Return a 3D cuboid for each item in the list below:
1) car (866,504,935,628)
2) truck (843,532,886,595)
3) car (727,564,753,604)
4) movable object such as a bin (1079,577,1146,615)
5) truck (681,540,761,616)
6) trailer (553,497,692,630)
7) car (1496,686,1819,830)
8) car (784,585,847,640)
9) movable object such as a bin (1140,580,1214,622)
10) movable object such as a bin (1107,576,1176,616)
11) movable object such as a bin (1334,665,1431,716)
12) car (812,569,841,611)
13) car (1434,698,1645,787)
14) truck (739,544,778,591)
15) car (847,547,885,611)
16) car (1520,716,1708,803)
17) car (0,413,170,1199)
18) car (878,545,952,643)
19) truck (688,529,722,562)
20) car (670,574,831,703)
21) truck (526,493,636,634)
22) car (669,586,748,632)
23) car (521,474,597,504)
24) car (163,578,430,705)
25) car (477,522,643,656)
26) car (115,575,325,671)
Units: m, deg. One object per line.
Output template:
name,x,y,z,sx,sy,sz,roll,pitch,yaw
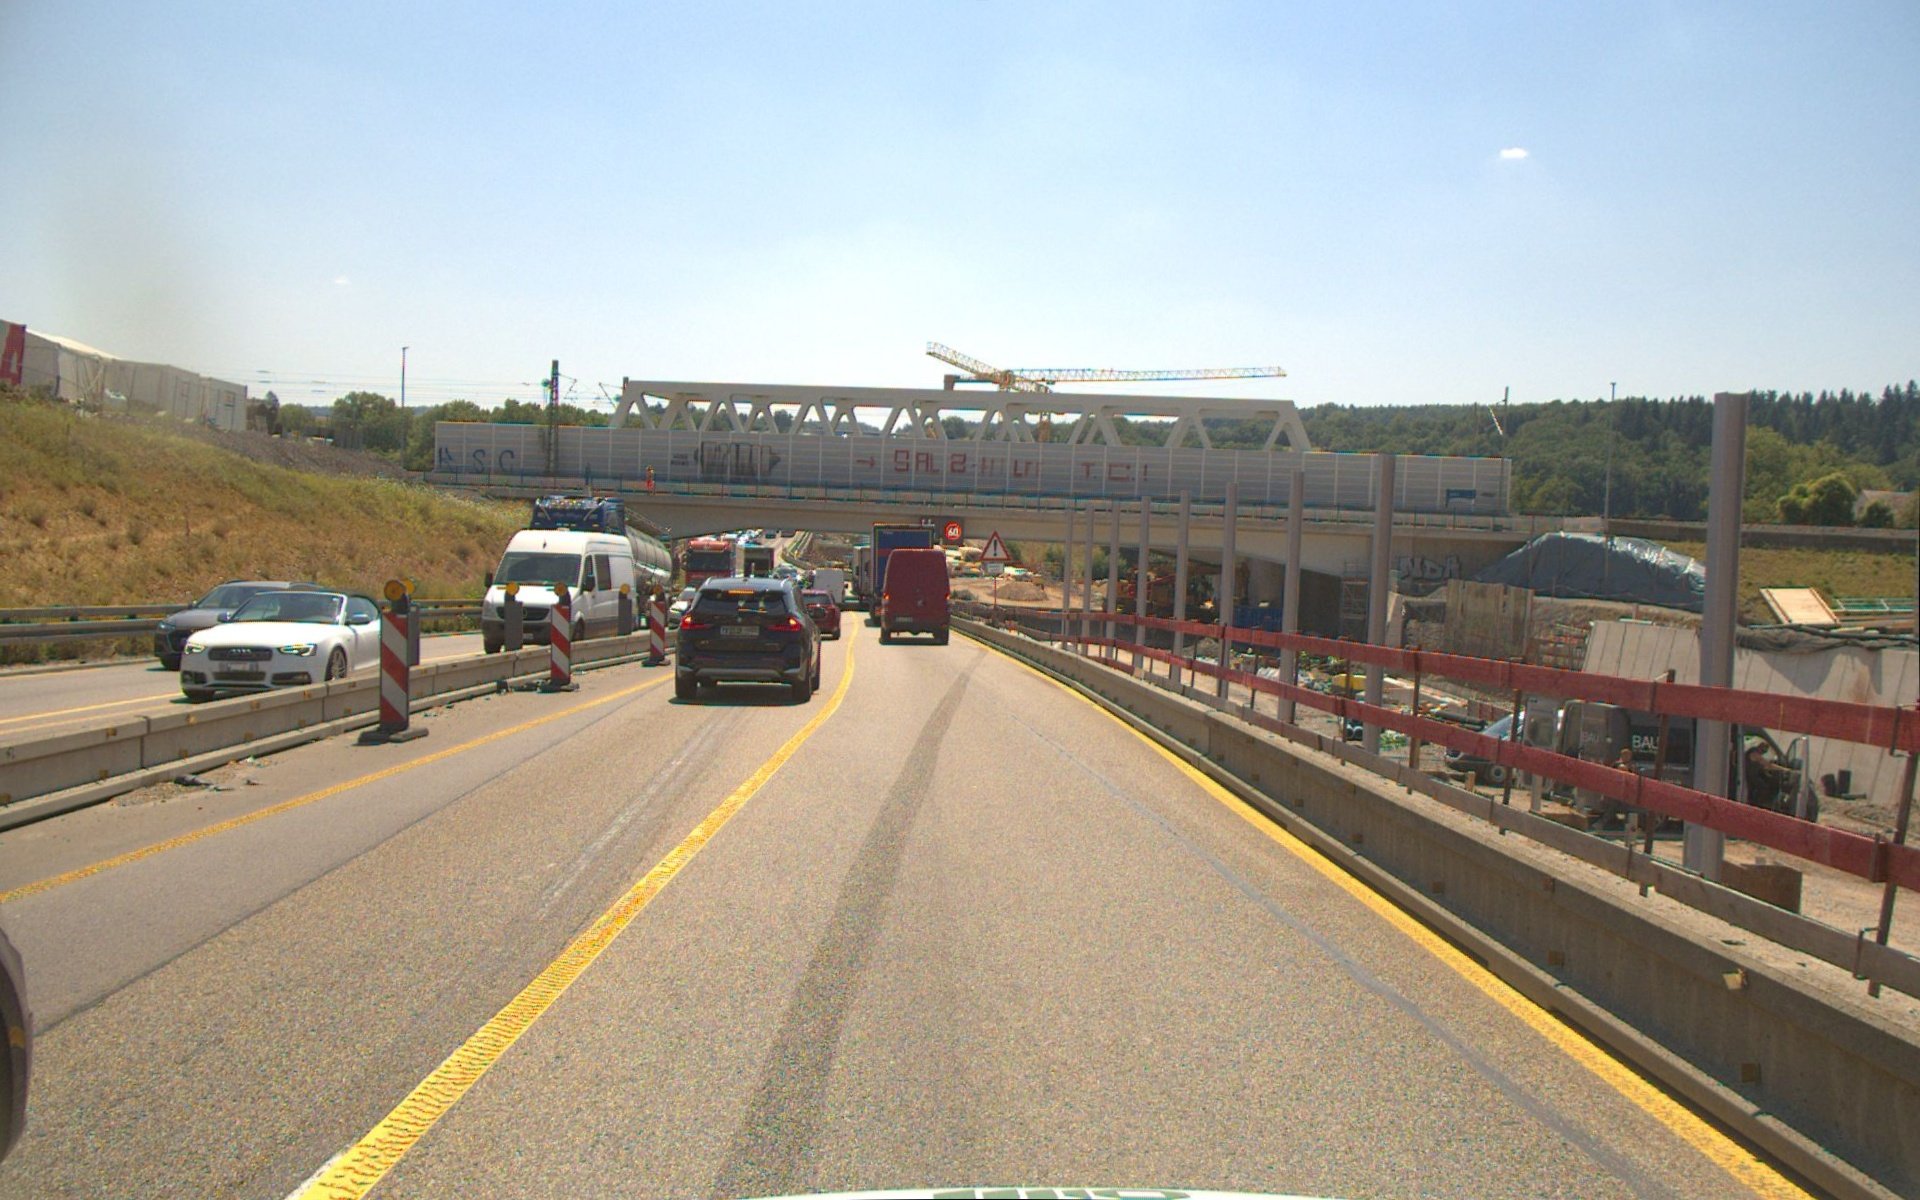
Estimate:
car,-2.763,-1.479,73.469,2.570,5.120,10.387,1,1,-5
truck,-8.933,-3.308,152.907,2.782,5.492,12.888,1,1,-8
car,-15.564,-1.143,117.244,1.549,2.700,5.386,1,1,-5
movable object such as a bin,11.986,-0.323,130.257,5.040,2.856,2.143,2,0,1
truck,-13.332,-1.223,93.284,2.777,3.919,12.910,1,1,-1
trailer,-11.435,-1.197,57.169,2.299,4.085,11.450,1,1,0
car,14.930,3.376,35.526,5.985,2.629,2.521,3,2,-14
car,-4.349,0.352,50.285,1.740,1.543,4.203,1,1,-3
movable object such as a bin,15.592,0.066,118.940,5.040,2.856,2.143,2,0,1
movable object such as a bin,13.766,-0.317,125.720,5.040,2.856,2.143,2,0,1
movable object such as a bin,15.164,3.221,59.344,3.041,1.590,1.550,2,1,32
car,-8.179,-0.641,101.218,1.741,2.483,4.202,1,1,-5
car,14.830,3.634,42.469,4.634,1.804,1.999,3,2,-3
truck,-17.686,-2.815,145.940,2.779,3.919,12.901,1,1,-4
car,-6.464,-1.466,113.061,2.402,4.233,6.854,1,1,-5
car,15.502,3.778,39.295,3.689,1.697,1.765,3,2,-8
car,-2.806,0.516,1.845,1.740,1.748,4.651,1,2,-2
car,-1.381,-0.209,48.922,1.950,2.737,4.619,1,1,-5
truck,-31.980,-6.773,206.906,2.788,3.919,12.862,1,1,-15
car,-2.878,0.461,23.555,1.842,1.646,4.497,1,1,-2
truck,-11.478,-1.090,50.353,2.309,4.085,4.000,1,0,0
car,-8.306,0.269,54.939,1.780,1.408,4.584,1,1,1
car,-26.520,-7.346,109.389,4.456,1.814,1.962,2,1,9
car,-8.637,0.466,22.007,1.764,1.472,4.635,1,1,-2
car,-8.712,-0.259,36.747,1.953,2.652,7.010,1,1,0
car,-12.401,0.339,28.019,1.729,1.472,4.127,1,1,-1
